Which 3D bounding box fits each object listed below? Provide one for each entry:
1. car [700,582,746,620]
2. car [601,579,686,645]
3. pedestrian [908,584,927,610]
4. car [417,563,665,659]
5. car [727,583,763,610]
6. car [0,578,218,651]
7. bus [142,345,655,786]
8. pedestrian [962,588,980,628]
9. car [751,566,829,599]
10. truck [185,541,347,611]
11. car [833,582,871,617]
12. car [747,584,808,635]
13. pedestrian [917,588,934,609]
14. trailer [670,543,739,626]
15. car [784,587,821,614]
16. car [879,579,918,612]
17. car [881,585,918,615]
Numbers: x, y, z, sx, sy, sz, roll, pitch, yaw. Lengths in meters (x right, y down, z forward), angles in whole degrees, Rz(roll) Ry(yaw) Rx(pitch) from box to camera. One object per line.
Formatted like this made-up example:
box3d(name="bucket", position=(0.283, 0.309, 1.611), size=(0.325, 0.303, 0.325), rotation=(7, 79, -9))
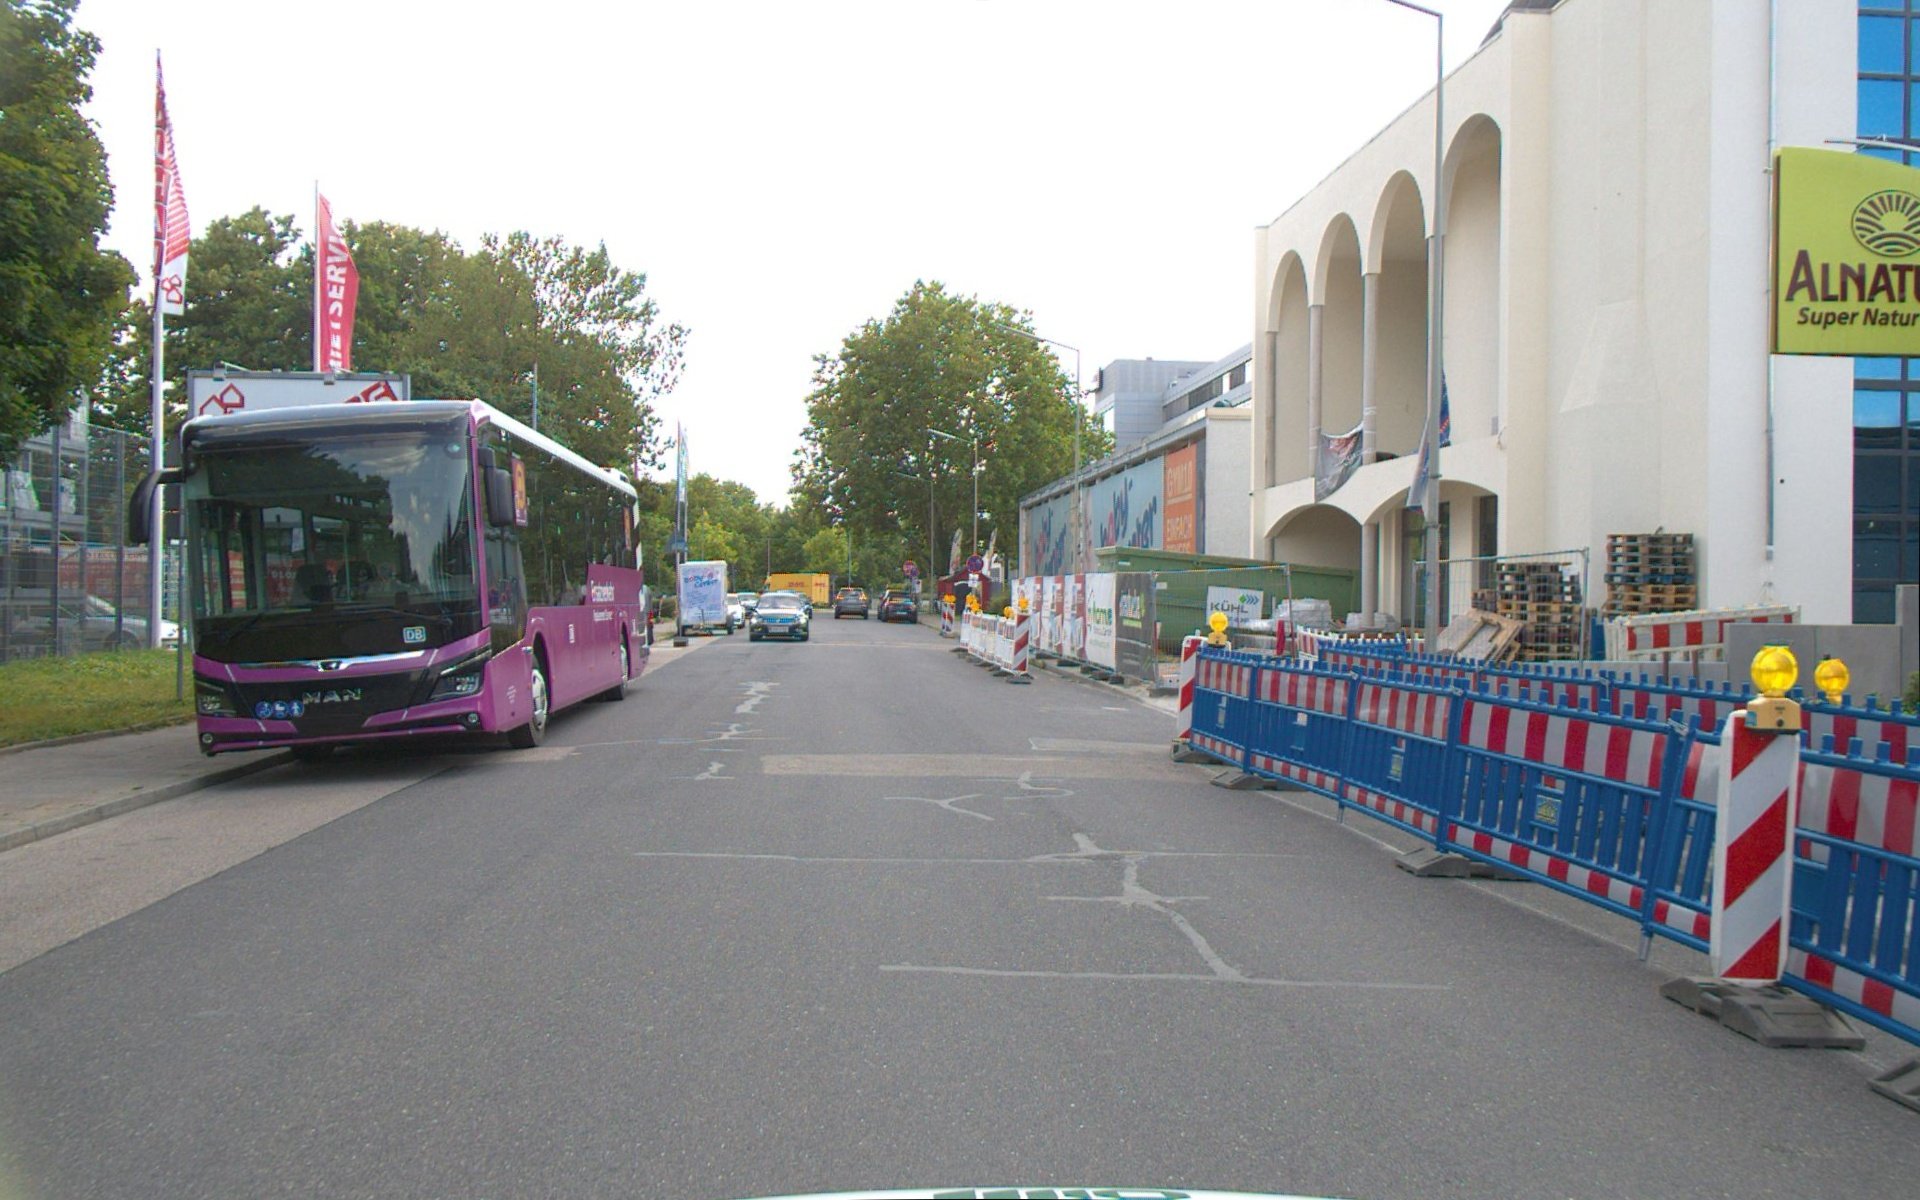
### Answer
box3d(name="car", position=(-10.051, 0.025, 70.333), size=(1.731, 1.505, 4.230), rotation=(-2, 1, -6))
box3d(name="car", position=(-8.404, 0.290, 44.179), size=(1.832, 1.658, 4.123), rotation=(0, 1, -6))
box3d(name="pedestrian", position=(-3.016, -0.213, 117.678), size=(0.987, 1.881, 1.221), rotation=(1, 0, -22))
box3d(name="car", position=(-9.130, 0.221, 36.321), size=(4.897, 1.983, 1.992), rotation=(1, 1, 1))
box3d(name="car", position=(-12.321, -0.228, 94.793), size=(1.676, 1.444, 4.328), rotation=(-2, 1, -3))
box3d(name="car", position=(-18.678, 0.296, 35.528), size=(4.591, 1.479, 1.953), rotation=(1, 1, -4))
box3d(name="bus", position=(-5.793, -0.372, 20.133), size=(2.611, 3.482, 13.206), rotation=(-3, 1, -5))
box3d(name="pedestrian", position=(0.429, 0.313, 64.918), size=(0.667, 1.560, 1.129), rotation=(1, 0, -3))
box3d(name="car", position=(-13.623, -1.431, 132.369), size=(6.274, 2.623, 2.198), rotation=(1, 1, 35))
box3d(name="truck", position=(-27.723, -0.941, 66.196), size=(5.640, 2.639, 1.814), rotation=(1, -1, -3))
box3d(name="car", position=(-6.083, -0.045, 92.641), size=(1.924, 1.847, 4.270), rotation=(1, 1, -7))
box3d(name="car", position=(-5.725, 0.272, 52.207), size=(1.761, 1.484, 4.381), rotation=(-1, 1, -5))
box3d(name="pedestrian", position=(-2.221, -0.079, 106.986), size=(0.992, 1.337, 0.965), rotation=(1, 0, 3))
box3d(name="trailer", position=(-9.195, -0.567, 59.851), size=(2.098, 2.831, 4.698), rotation=(-2, 1, -5))
box3d(name="car", position=(-8.563, 0.013, 90.284), size=(1.885, 1.401, 4.376), rotation=(1, 1, -4))
box3d(name="car", position=(-3.463, -0.287, 92.489), size=(1.773, 1.694, 4.634), rotation=(3, 0, -6))
box3d(name="car", position=(-3.168, -0.009, 86.160), size=(1.772, 1.415, 4.585), rotation=(3, 0, -3))
